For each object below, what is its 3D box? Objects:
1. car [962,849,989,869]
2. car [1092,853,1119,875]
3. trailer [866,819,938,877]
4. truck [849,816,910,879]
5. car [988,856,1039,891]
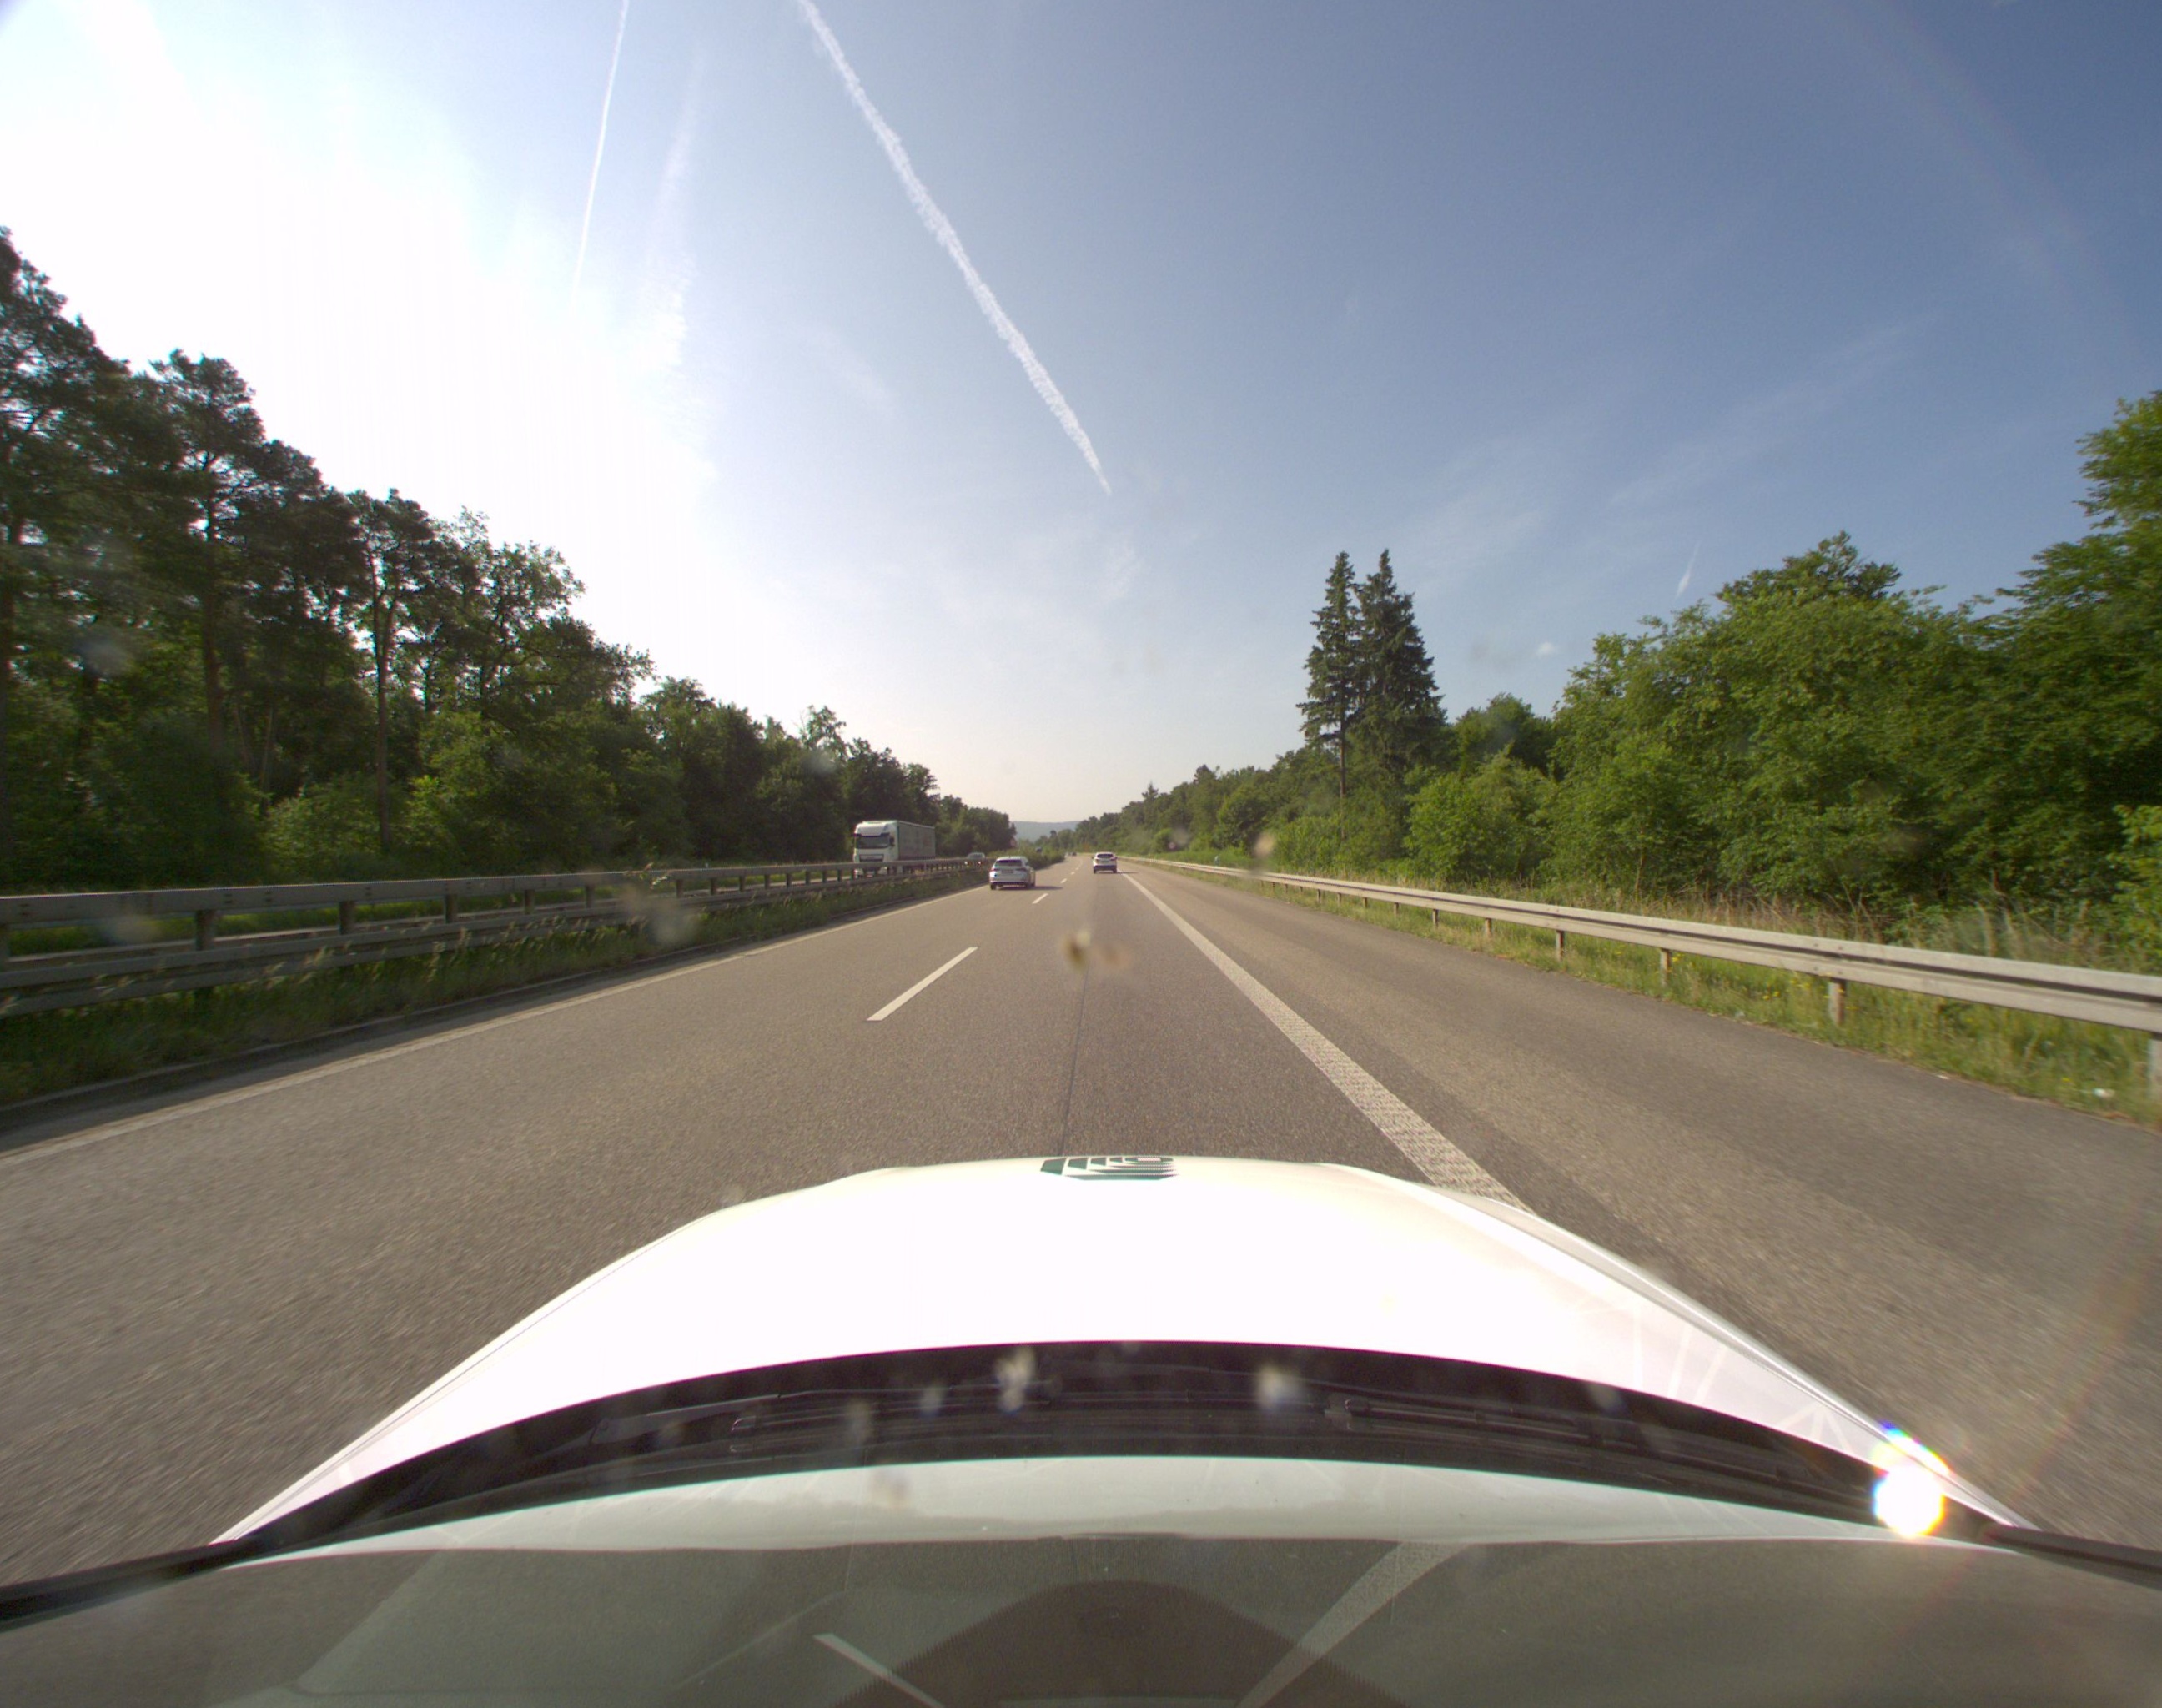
[{"bbox_3d":[-9.485,0.433,73.468,1.680,1.688,4.169,-1,0,2],"label":"car"},{"bbox_3d":[1.836,0.729,62.289,1.868,1.586,3.998,1,0,-1],"label":"car"},{"bbox_3d":[-14.188,-0.436,65.652,2.823,4.208,12.412,-2,0,1],"label":"trailer"},{"bbox_3d":[-14.207,-0.442,57.873,2.828,4.196,5.546,-2,0,0],"label":"truck"},{"bbox_3d":[-3.044,0.829,37.558,1.786,1.438,5.279,-2,0,1],"label":"car"}]
